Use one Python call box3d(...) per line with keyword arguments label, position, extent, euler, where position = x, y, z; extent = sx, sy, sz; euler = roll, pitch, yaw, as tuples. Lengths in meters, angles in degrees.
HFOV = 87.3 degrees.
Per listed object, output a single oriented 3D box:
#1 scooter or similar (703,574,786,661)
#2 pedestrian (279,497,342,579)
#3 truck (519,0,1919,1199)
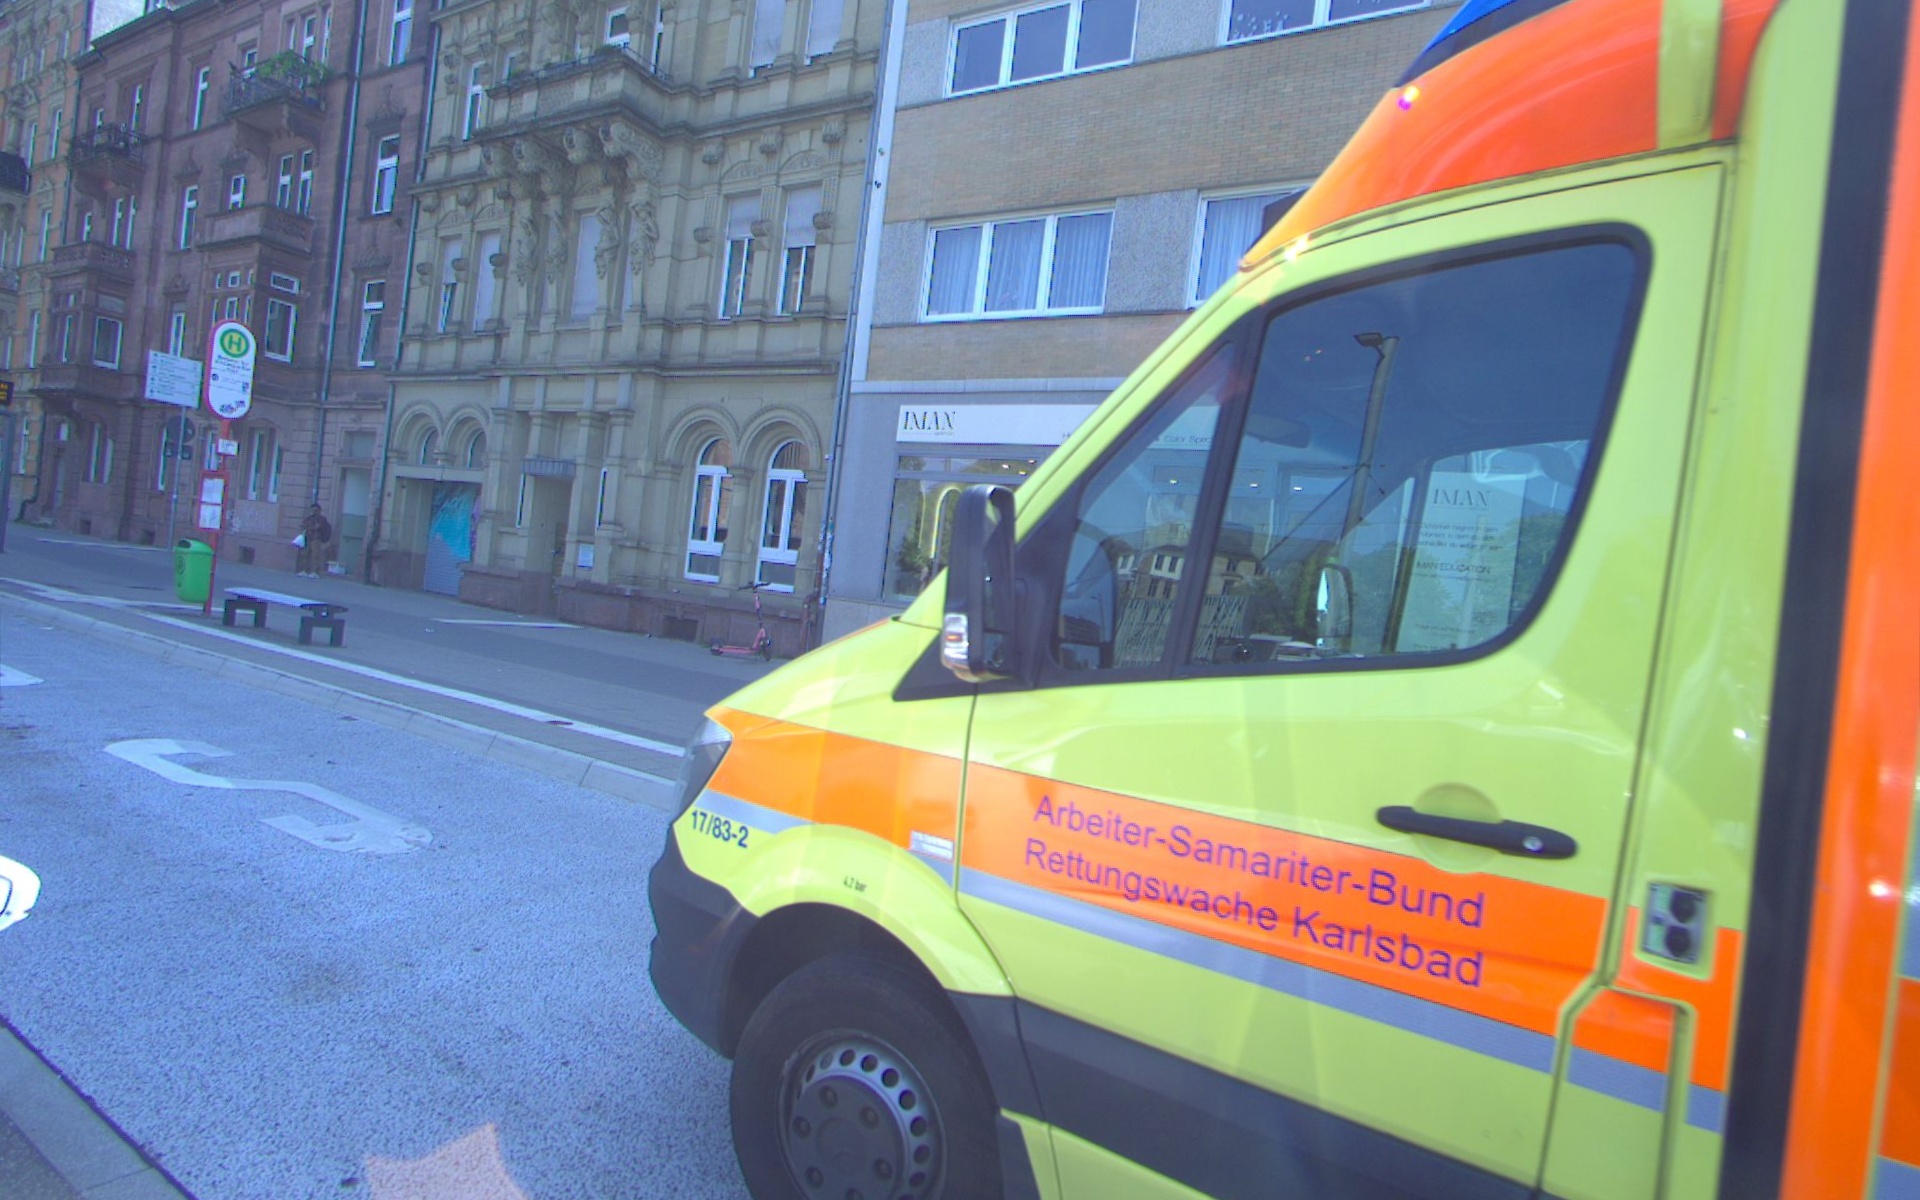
box3d(label="scooter or similar", position=(-3.405, 0.276, 15.894), extent=(1.122, 1.228, 0.476), euler=(7, 1, 27))
box3d(label="pedestrian", position=(-15.403, -1.456, 23.863), extent=(0.729, 1.800, 0.870), euler=(7, 1, 4))
box3d(label="truck", position=(2.219, 0.271, 1.622), extent=(6.238, 2.807, 2.327), euler=(7, 3, 35))
